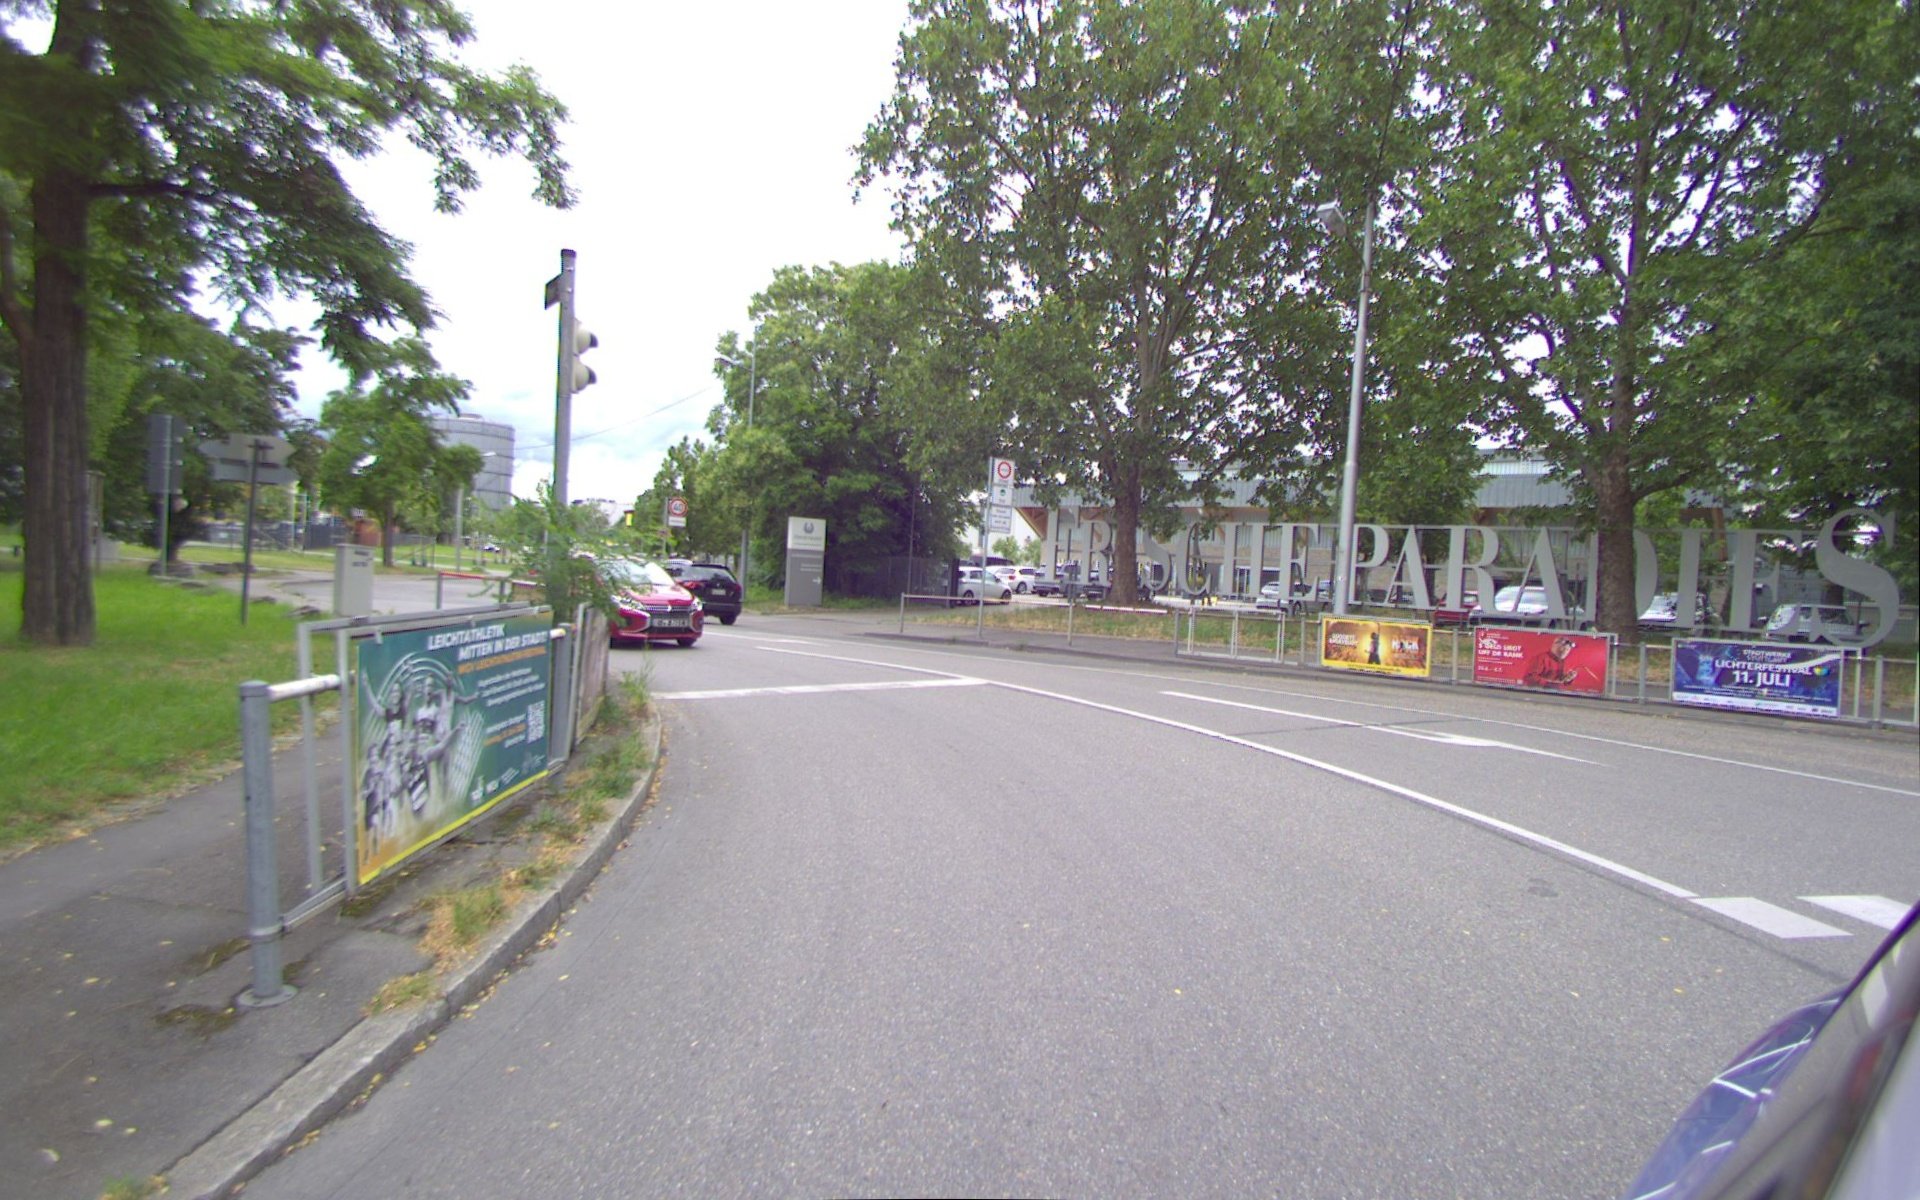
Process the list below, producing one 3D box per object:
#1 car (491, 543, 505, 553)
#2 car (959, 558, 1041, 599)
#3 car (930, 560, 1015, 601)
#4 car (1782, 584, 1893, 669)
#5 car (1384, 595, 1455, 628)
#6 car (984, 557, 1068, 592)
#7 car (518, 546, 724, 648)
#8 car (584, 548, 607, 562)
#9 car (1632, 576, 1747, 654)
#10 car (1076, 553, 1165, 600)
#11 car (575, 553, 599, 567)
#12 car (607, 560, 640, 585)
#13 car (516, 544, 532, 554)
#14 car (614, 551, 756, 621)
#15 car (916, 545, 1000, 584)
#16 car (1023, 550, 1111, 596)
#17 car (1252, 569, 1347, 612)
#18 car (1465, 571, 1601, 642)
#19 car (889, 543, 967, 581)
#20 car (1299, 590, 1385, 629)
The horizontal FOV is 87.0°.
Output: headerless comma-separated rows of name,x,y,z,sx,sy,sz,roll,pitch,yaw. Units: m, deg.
car,-85.404,-9.602,187.053,2.006,1.555,3.948,4,0,-29
car,2.278,-1.185,57.188,1.995,2.038,4.565,5,2,45
car,0.567,-0.809,42.622,1.476,1.523,3.674,5,2,41
car,19.485,0.598,22.420,1.587,1.633,3.935,4,1,44
car,24.896,0.622,54.768,1.995,1.581,4.565,5,2,45
car,3.591,-1.369,54.681,1.995,1.578,4.565,5,2,45
car,-5.788,-0.114,17.046,3.823,1.483,1.706,4,2,44
car,-46.538,-5.768,129.125,2.007,1.555,3.946,3,2,-32
car,17.591,0.387,24.336,1.587,1.633,4.248,4,1,44
car,7.947,-1.129,49.861,1.995,2.038,4.565,5,2,45
car,-42.838,-4.619,116.249,2.007,1.554,3.948,-1,4,-30
car,-21.986,-1.806,66.179,1.681,1.508,3.379,4,1,-13
car,-72.225,-8.431,167.593,2.006,1.555,3.948,4,0,-29
car,-7.531,-0.409,27.500,1.819,1.656,4.175,4,0,-45
car,-0.079,-2.090,60.169,1.995,2.023,5.019,5,2,45
car,5.552,-1.363,51.912,1.995,2.038,4.565,5,2,45
car,14.543,-0.402,43.257,1.995,1.581,4.565,5,2,45
car,15.335,0.206,26.992,4.449,1.633,1.881,3,1,-44
car,-1.951,-2.325,62.905,1.995,2.038,4.745,5,2,45
car,17.714,0.455,46.841,1.995,1.581,4.565,5,2,45
